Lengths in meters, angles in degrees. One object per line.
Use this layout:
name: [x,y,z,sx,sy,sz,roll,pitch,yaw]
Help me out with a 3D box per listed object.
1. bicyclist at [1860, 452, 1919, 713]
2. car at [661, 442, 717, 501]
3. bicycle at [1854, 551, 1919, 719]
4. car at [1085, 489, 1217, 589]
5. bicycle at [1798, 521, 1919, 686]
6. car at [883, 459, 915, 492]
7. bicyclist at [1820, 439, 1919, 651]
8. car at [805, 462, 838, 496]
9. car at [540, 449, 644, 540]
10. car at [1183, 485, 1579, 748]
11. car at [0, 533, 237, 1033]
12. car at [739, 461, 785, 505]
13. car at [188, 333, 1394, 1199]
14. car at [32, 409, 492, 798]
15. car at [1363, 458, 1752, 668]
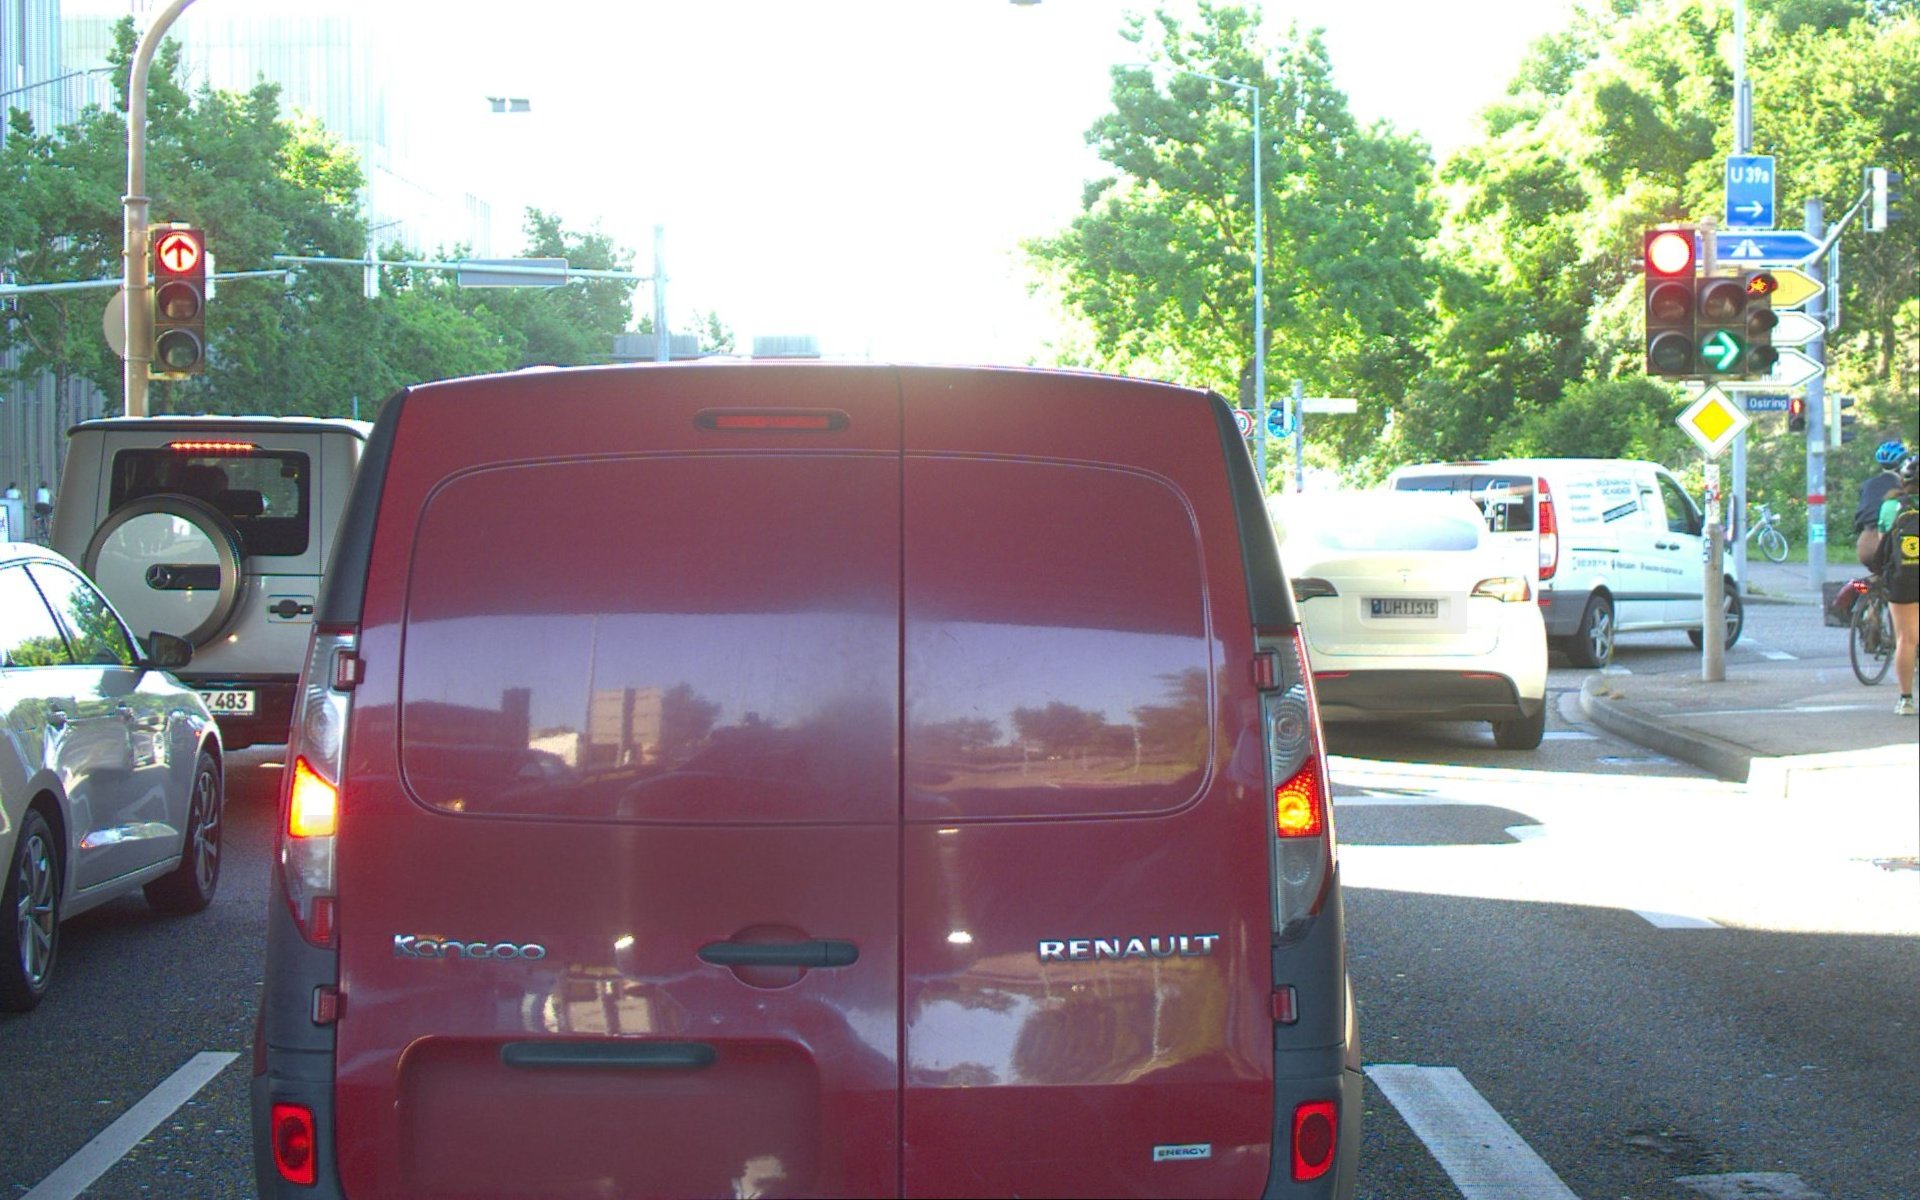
bicyclist: [6.079,-0.108,21.713,0.677,1.623,0.644,1,0,10]
car: [-9.886,-4.683,125.638,1.748,2.007,3.845,1,1,-1]
bicycle: [6.071,0.210,21.720,0.677,1.020,1.528,1,1,10]
car: [2.896,-0.943,52.699,1.745,1.451,3.717,1,1,-1]
bicycle: [6.754,0.012,25.287,0.652,1.163,1.775,1,1,30]
car: [-3.908,-7.969,220.636,1.993,2.007,4.000,1,1,-1]
bicyclist: [6.796,-0.404,25.357,0.654,1.528,0.845,1,1,30]
car: [-8.700,-7.615,216.284,1.929,2.007,3.914,1,1,-1]
car: [-8.501,-2.421,79.620,1.993,2.007,4.000,1,1,-1]
car: [2.665,0.085,22.786,1.993,1.546,4.421,-1,0,-1]
car: [-3.618,0.483,11.475,1.692,1.405,3.814,1,1,-2]
car: [-9.651,-5.689,167.843,1.993,2.007,4.000,1,1,-1]
car: [-0.270,0.467,6.948,1.719,1.758,4.000,1,1,-1]
car: [-3.701,-0.020,18.846,1.813,1.897,3.814,1,1,-1]
car: [5.725,-0.423,32.440,1.901,1.829,4.827,1,3,32]
